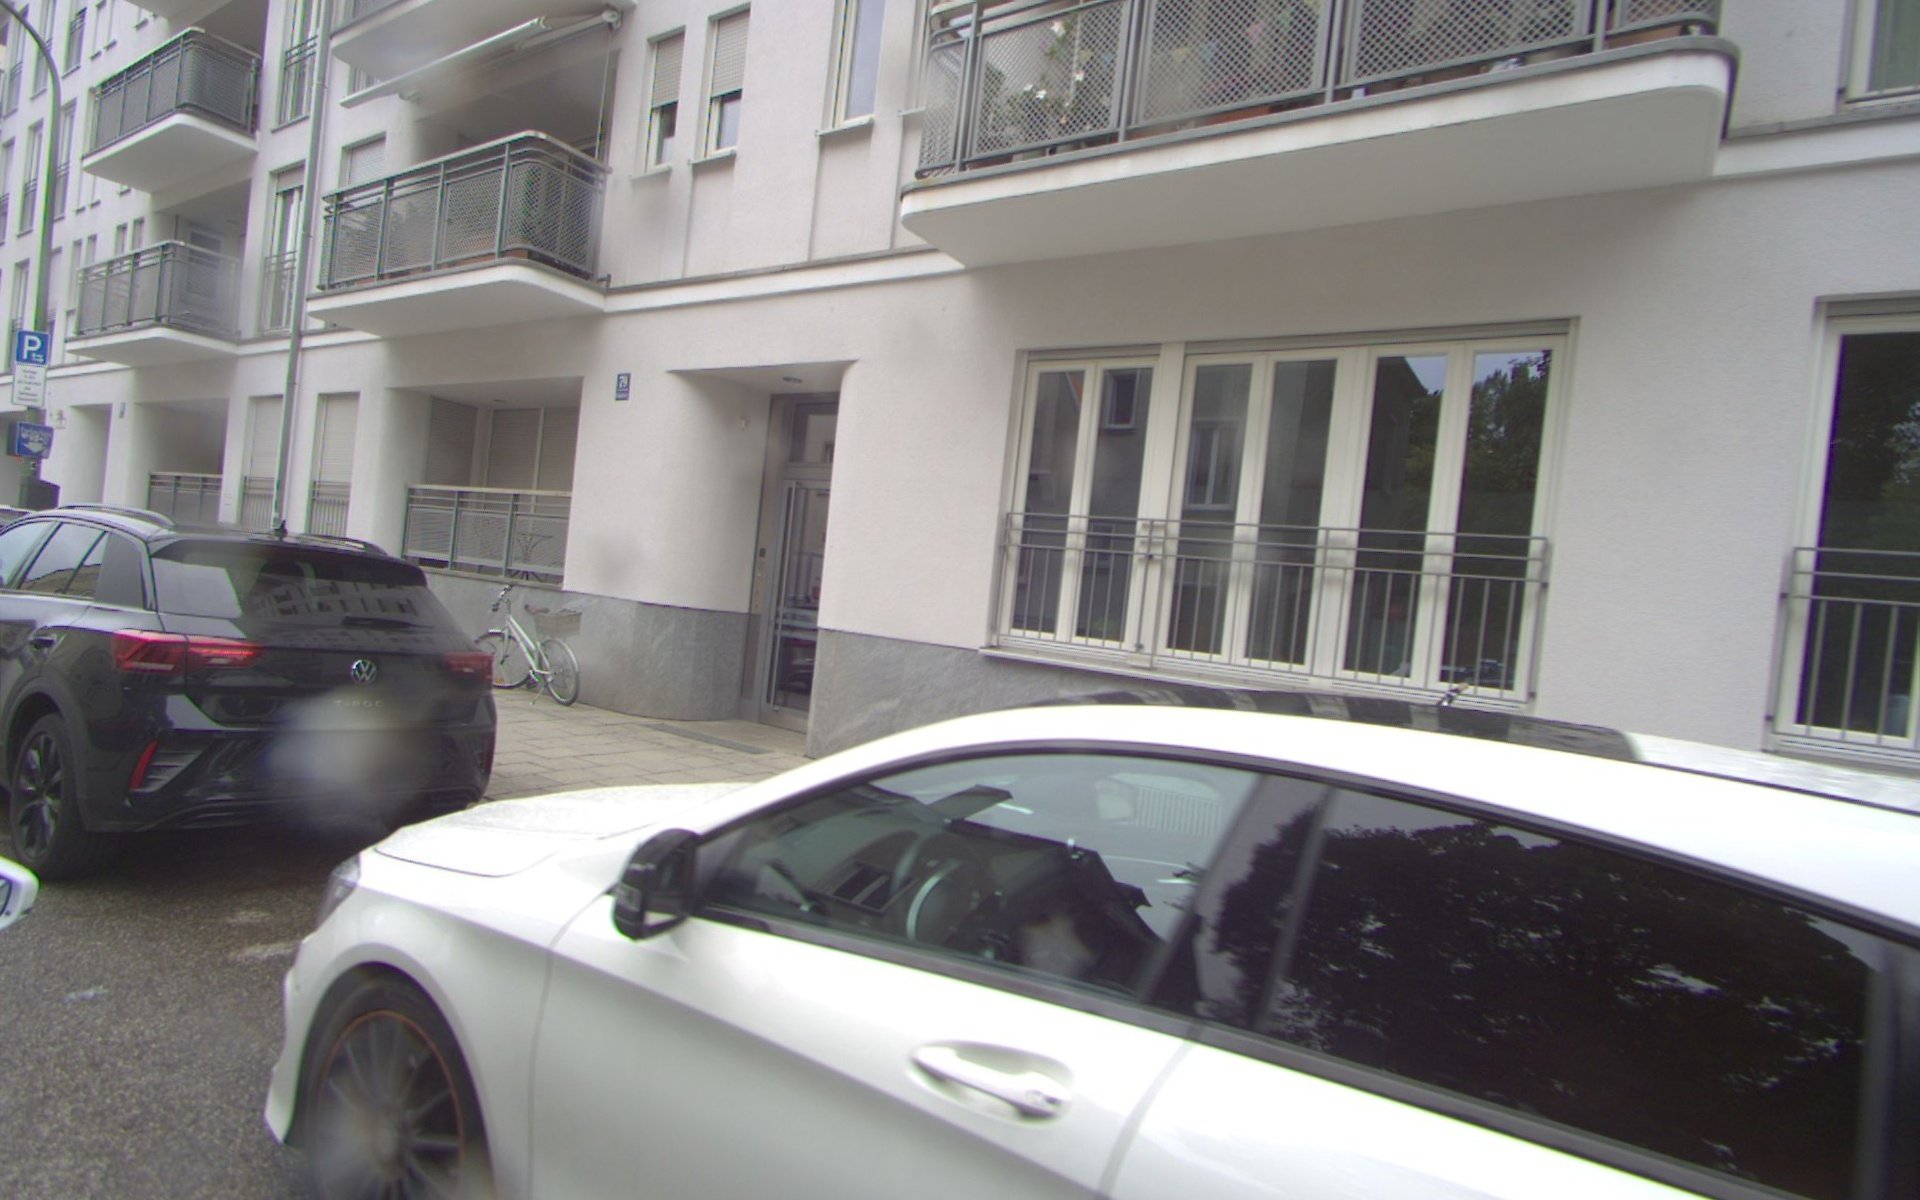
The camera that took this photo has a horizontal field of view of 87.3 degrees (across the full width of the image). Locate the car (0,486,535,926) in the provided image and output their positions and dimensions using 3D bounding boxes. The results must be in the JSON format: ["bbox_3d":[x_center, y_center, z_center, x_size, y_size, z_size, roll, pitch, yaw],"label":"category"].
[{"bbox_3d":[-4.274,0.315,5.374,3.919,1.547,1.607,6,-2,32],"label":"car"}]

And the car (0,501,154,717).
[{"bbox_3d":[-8.870,-0.149,8.484,4.546,1.547,1.737,6,-2,33],"label":"car"}]

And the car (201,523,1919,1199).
[{"bbox_3d":[0.447,0.821,2.003,4.138,1.456,1.661,6,-2,32],"label":"car"}]

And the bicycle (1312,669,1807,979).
[{"bbox_3d":[2.699,0.934,4.718,1.805,1.040,0.678,4,-1,33],"label":"bicycle"}]

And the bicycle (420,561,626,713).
[{"bbox_3d":[-4.183,0.320,9.561,2.092,1.175,0.628,6,1,32],"label":"bicycle"}]
